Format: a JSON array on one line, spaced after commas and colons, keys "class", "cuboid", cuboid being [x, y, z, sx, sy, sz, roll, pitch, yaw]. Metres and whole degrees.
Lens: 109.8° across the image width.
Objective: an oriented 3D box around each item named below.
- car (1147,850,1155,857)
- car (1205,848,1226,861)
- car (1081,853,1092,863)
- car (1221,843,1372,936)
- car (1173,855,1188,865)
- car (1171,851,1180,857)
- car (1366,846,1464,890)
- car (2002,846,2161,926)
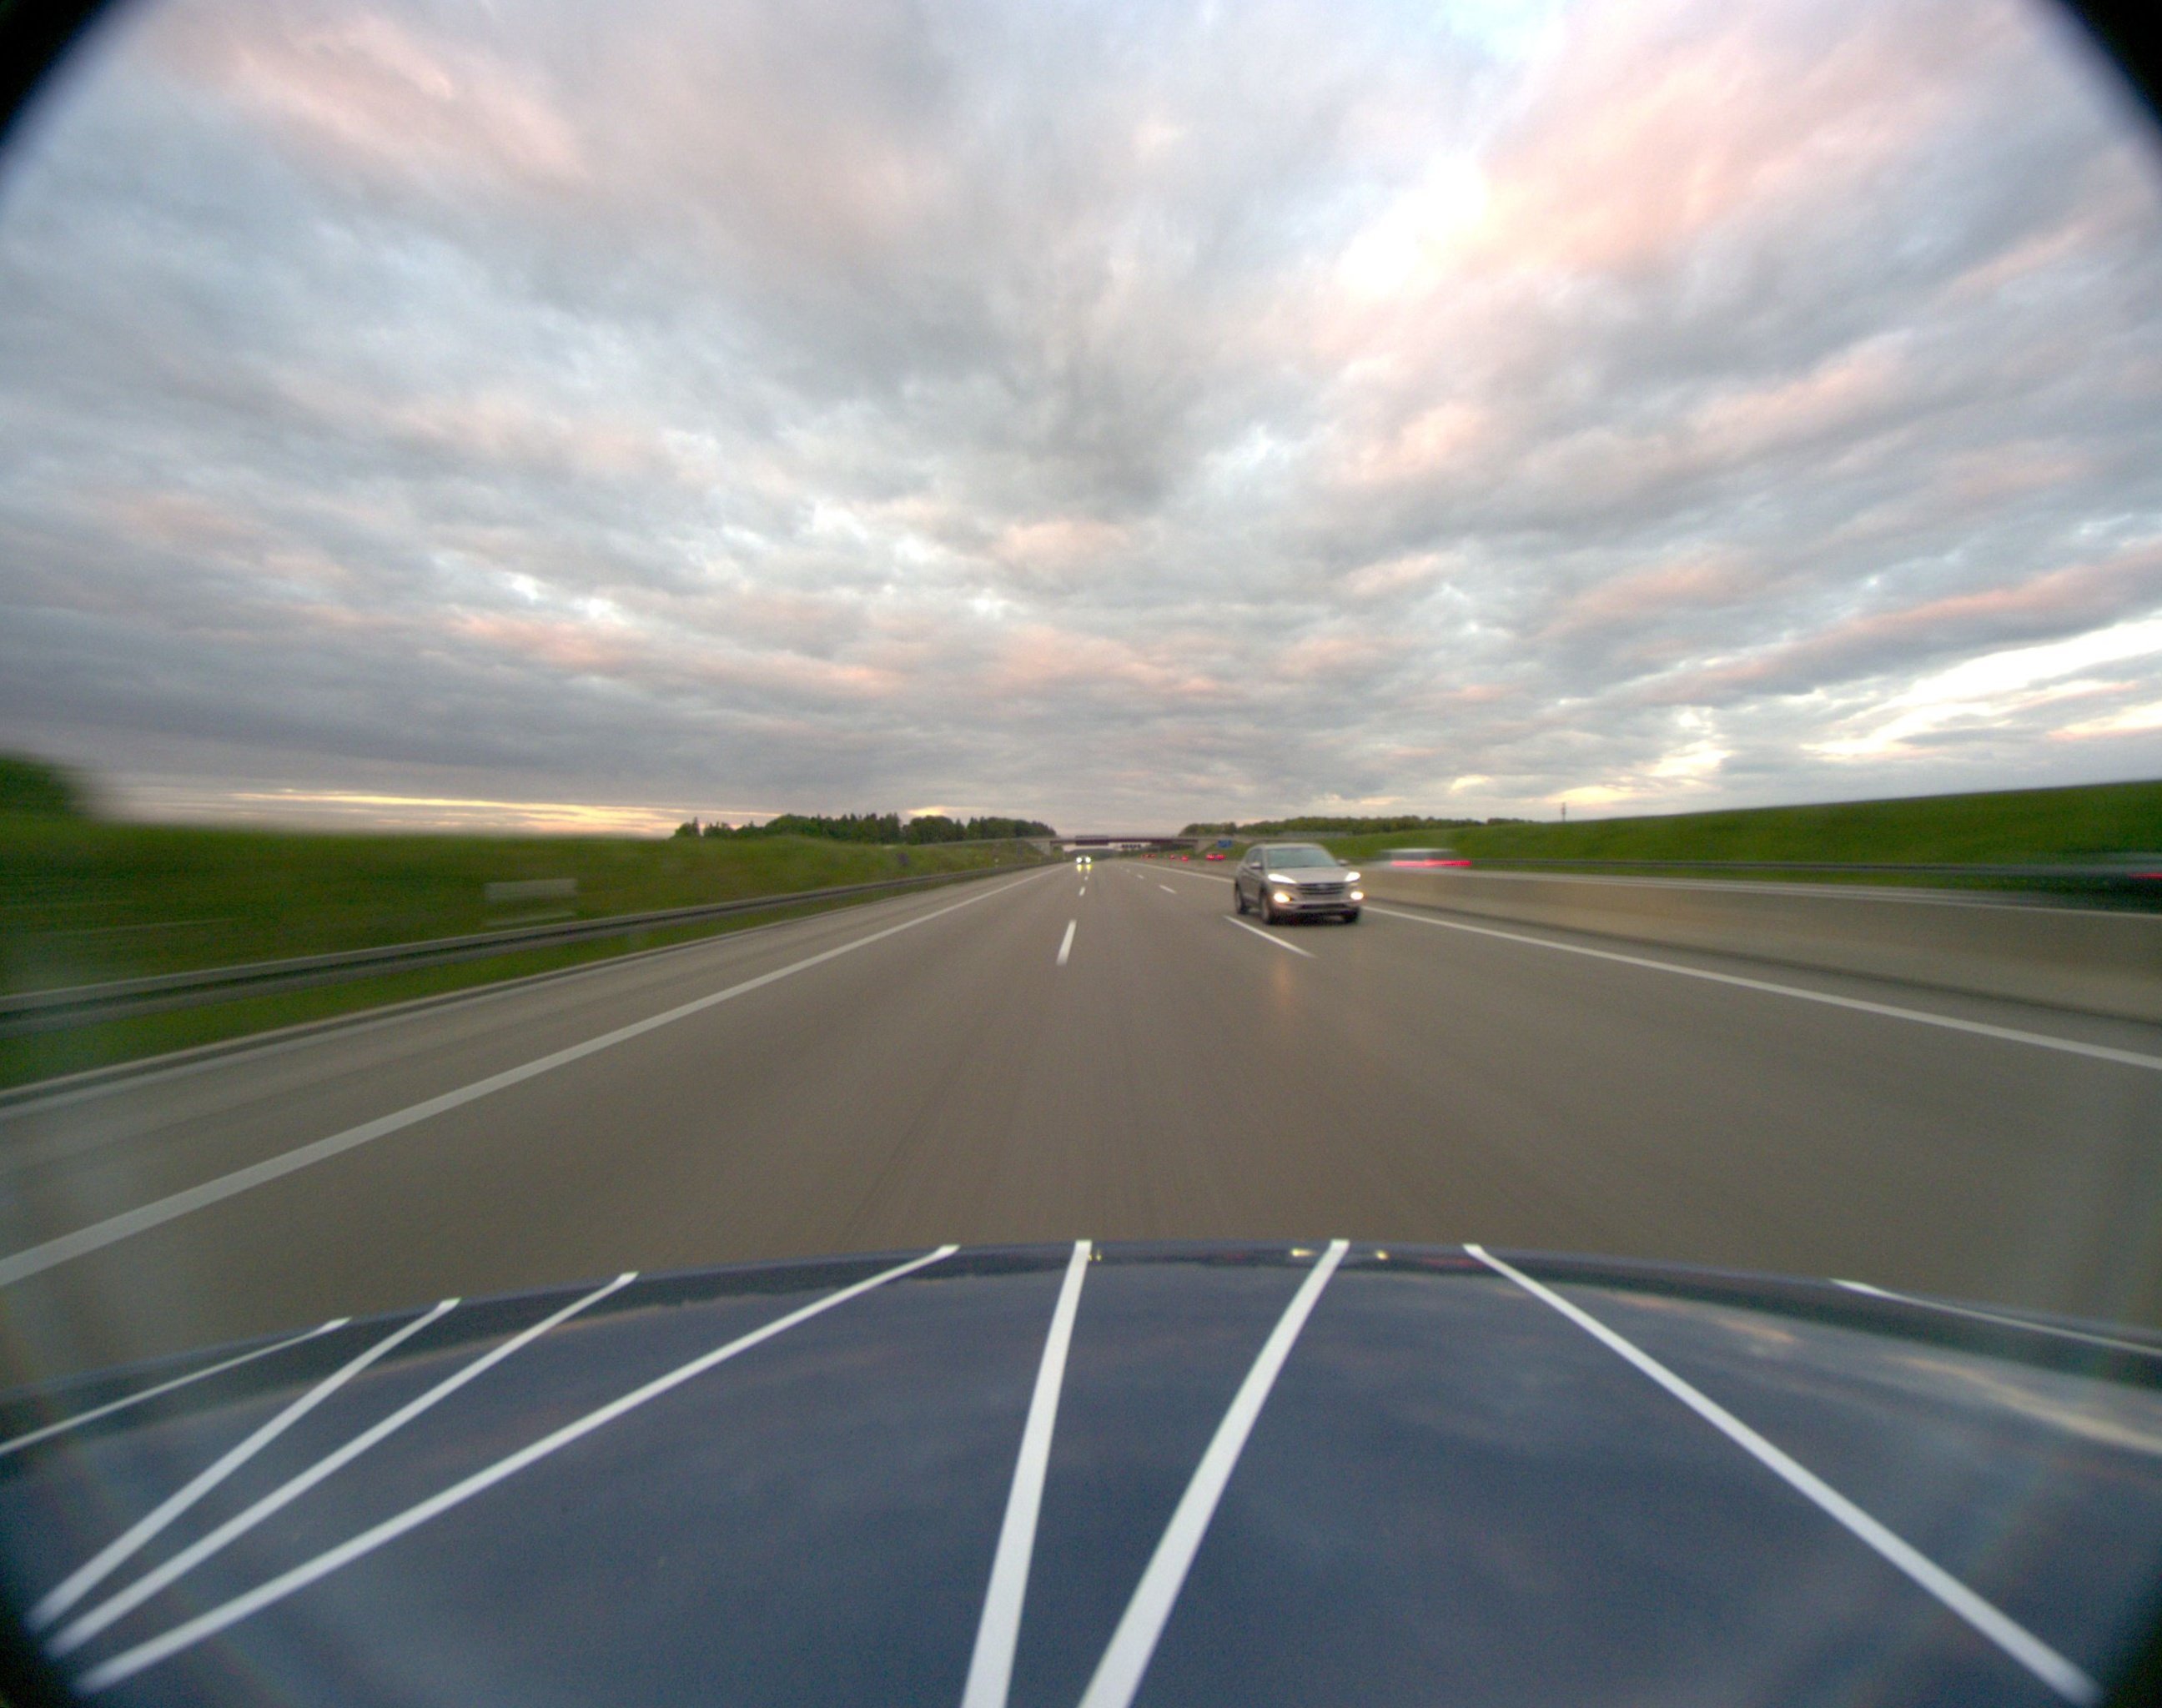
[{"class": "car", "cuboid": [20.549, -0.186, 222.522, 2.008, 2.002, 5.737, -1, 0, 1]}, {"class": "car", "cuboid": [18.980, 0.035, 107.485, 2.105, 1.800, 5.021, -1, 0, 0]}, {"class": "car", "cuboid": [0.975, 0.661, 130.307, 1.801, 1.674, 4.385, -1, 1, 1]}, {"class": "car", "cuboid": [4.525, 0.646, 16.924, 1.857, 1.683, 5.512, -1, 0, 1]}, {"class": "car", "cuboid": [14.891, 0.869, 113.745, 1.743, 1.490, 4.130, -1, 0, 0]}, {"class": "car", "cuboid": [24.040, 0.027, 193.652, 1.634, 1.508, 4.426, -2, 0, 0]}, {"class": "car", "cuboid": [14.366, 0.554, 33.055, 1.998, 1.725, 5.182, -1, 0, 0]}, {"class": "car", "cuboid": [19.951, 0.555, 13.575, 1.743, 1.384, 4.342, -1, 0, 0]}]
